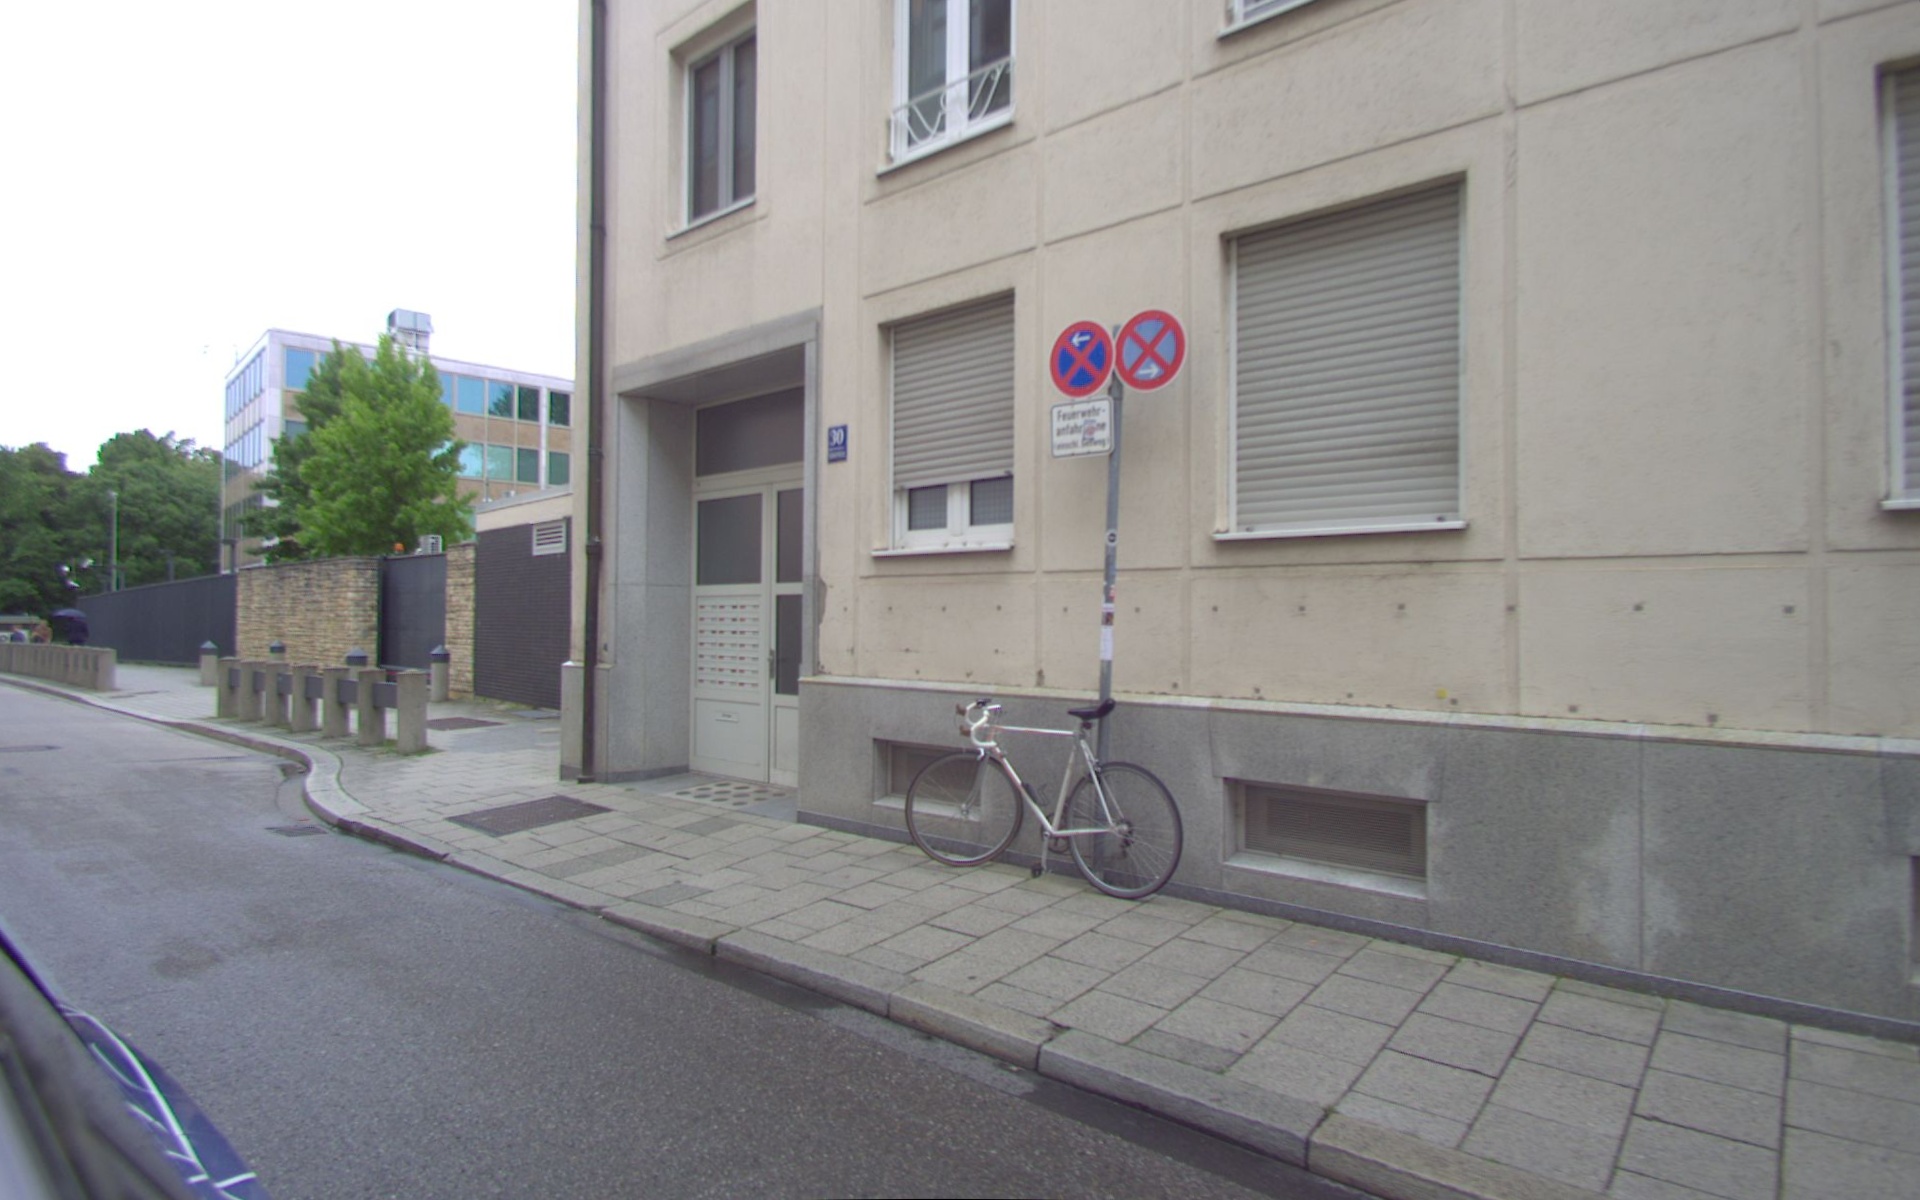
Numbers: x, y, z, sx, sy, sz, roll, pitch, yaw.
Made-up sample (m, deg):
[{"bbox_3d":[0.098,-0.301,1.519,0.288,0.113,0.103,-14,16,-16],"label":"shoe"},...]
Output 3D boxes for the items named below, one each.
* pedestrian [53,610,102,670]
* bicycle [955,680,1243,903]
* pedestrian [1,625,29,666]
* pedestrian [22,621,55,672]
[{"bbox_3d":[-31.921,1.431,36.608,1.116,2.120,1.210,-3,-3,42],"label":"pedestrian"},{"bbox_3d":[0.673,0.936,5.323,1.573,0.951,0.316,-1,1,42],"label":"bicycle"},{"bbox_3d":[-37.364,1.787,40.016,0.768,1.551,0.934,-2,-1,-42],"label":"pedestrian"},{"bbox_3d":[-32.813,1.642,36.045,0.814,1.736,0.906,-2,-1,-45],"label":"pedestrian"}]
